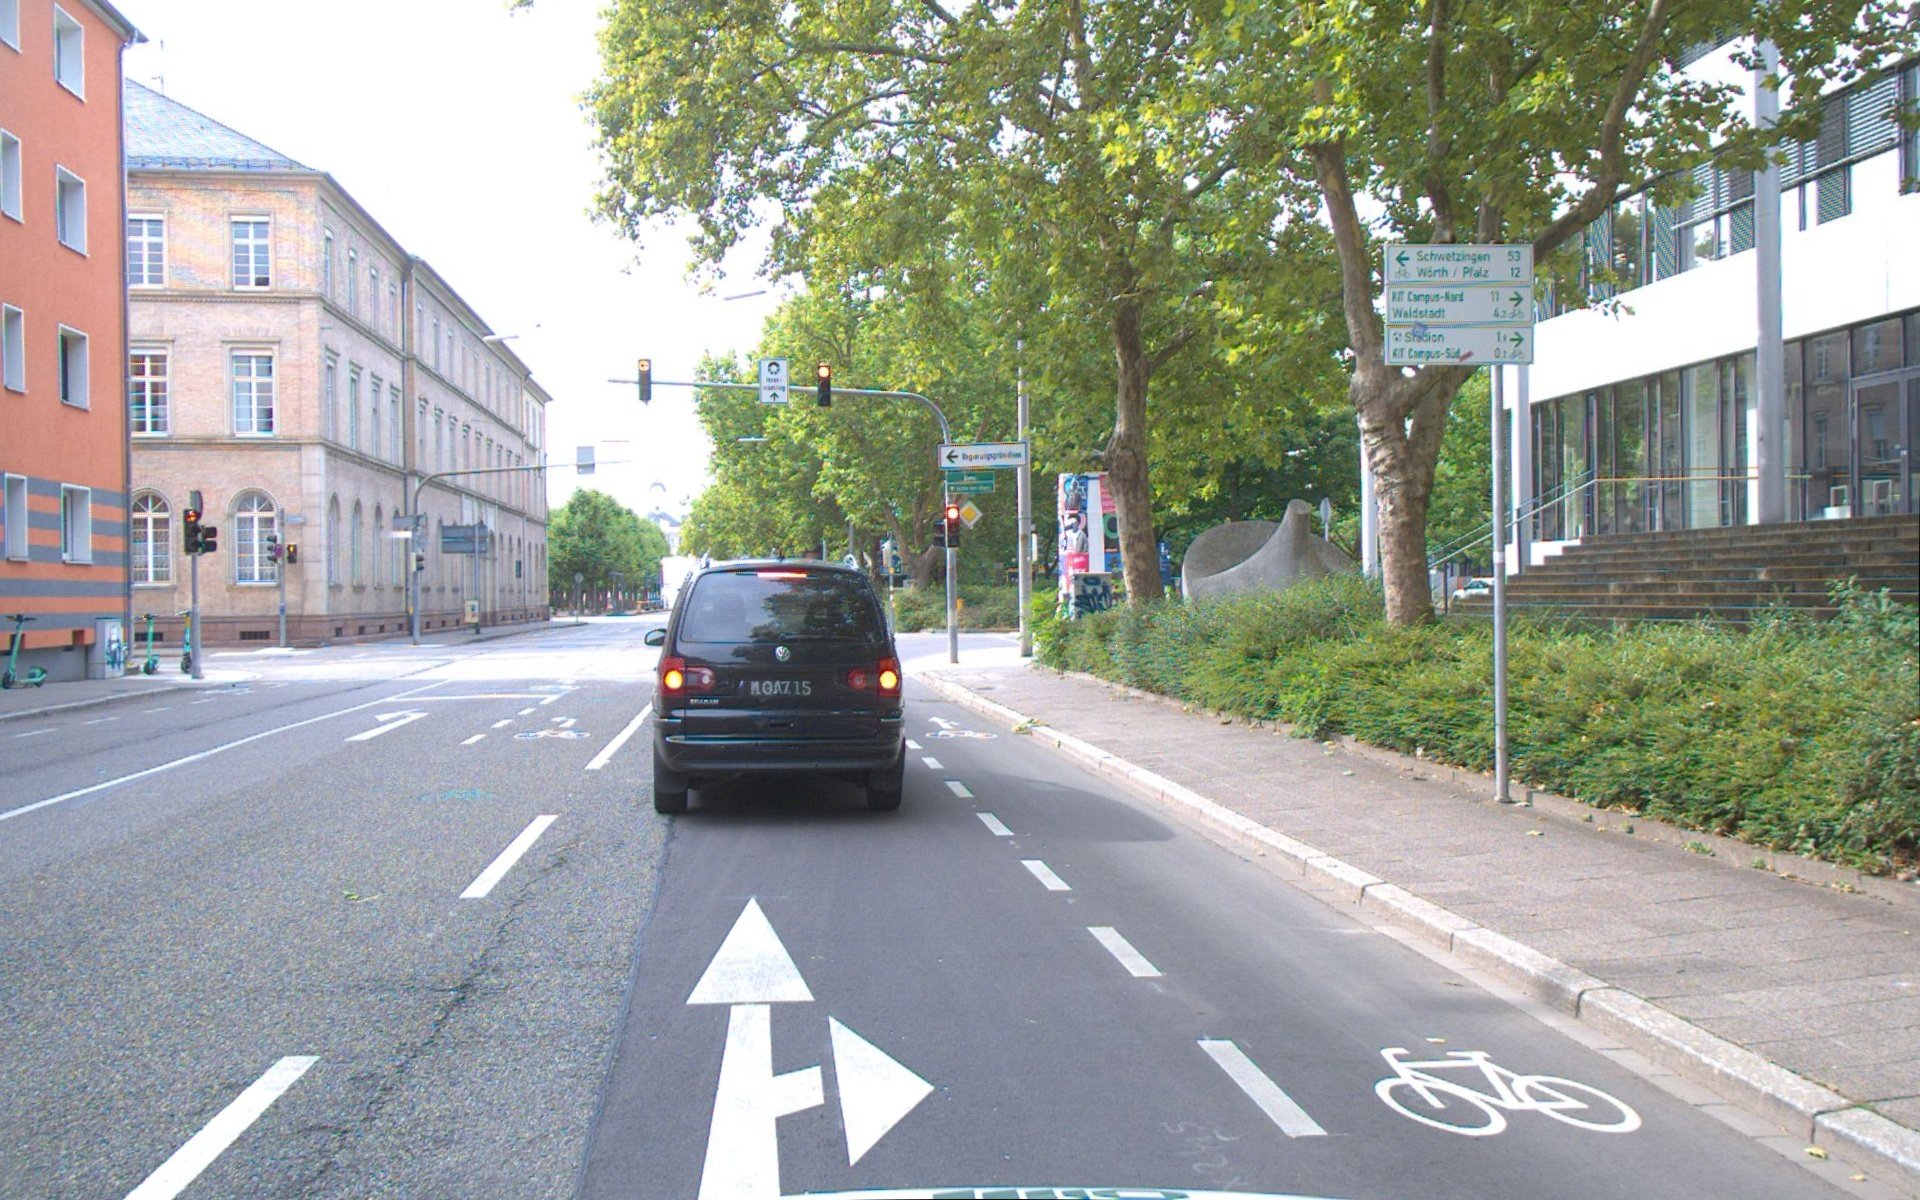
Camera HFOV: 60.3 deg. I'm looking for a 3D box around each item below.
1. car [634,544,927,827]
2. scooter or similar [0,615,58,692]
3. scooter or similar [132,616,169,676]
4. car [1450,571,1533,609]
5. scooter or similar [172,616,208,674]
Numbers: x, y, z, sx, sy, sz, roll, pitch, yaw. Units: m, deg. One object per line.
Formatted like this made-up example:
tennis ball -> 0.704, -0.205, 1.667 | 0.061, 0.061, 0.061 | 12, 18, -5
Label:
car -> -1.308, 0.521, 12.840 | 1.837, 1.775, 4.569 | -1, 0, -4
scooter or similar -> -15.222, 0.868, 27.022 | 0.371, 1.204, 1.387 | -1, -1, -7
scooter or similar -> -16.218, 0.920, 33.150 | 0.371, 1.167, 1.139 | -1, -1, -11
car -> 24.144, -0.452, 75.304 | 1.925, 1.680, 4.144 | -1, 0, -10
scooter or similar -> -15.712, 0.921, 33.766 | 0.371, 1.164, 1.139 | -1, -1, -11
